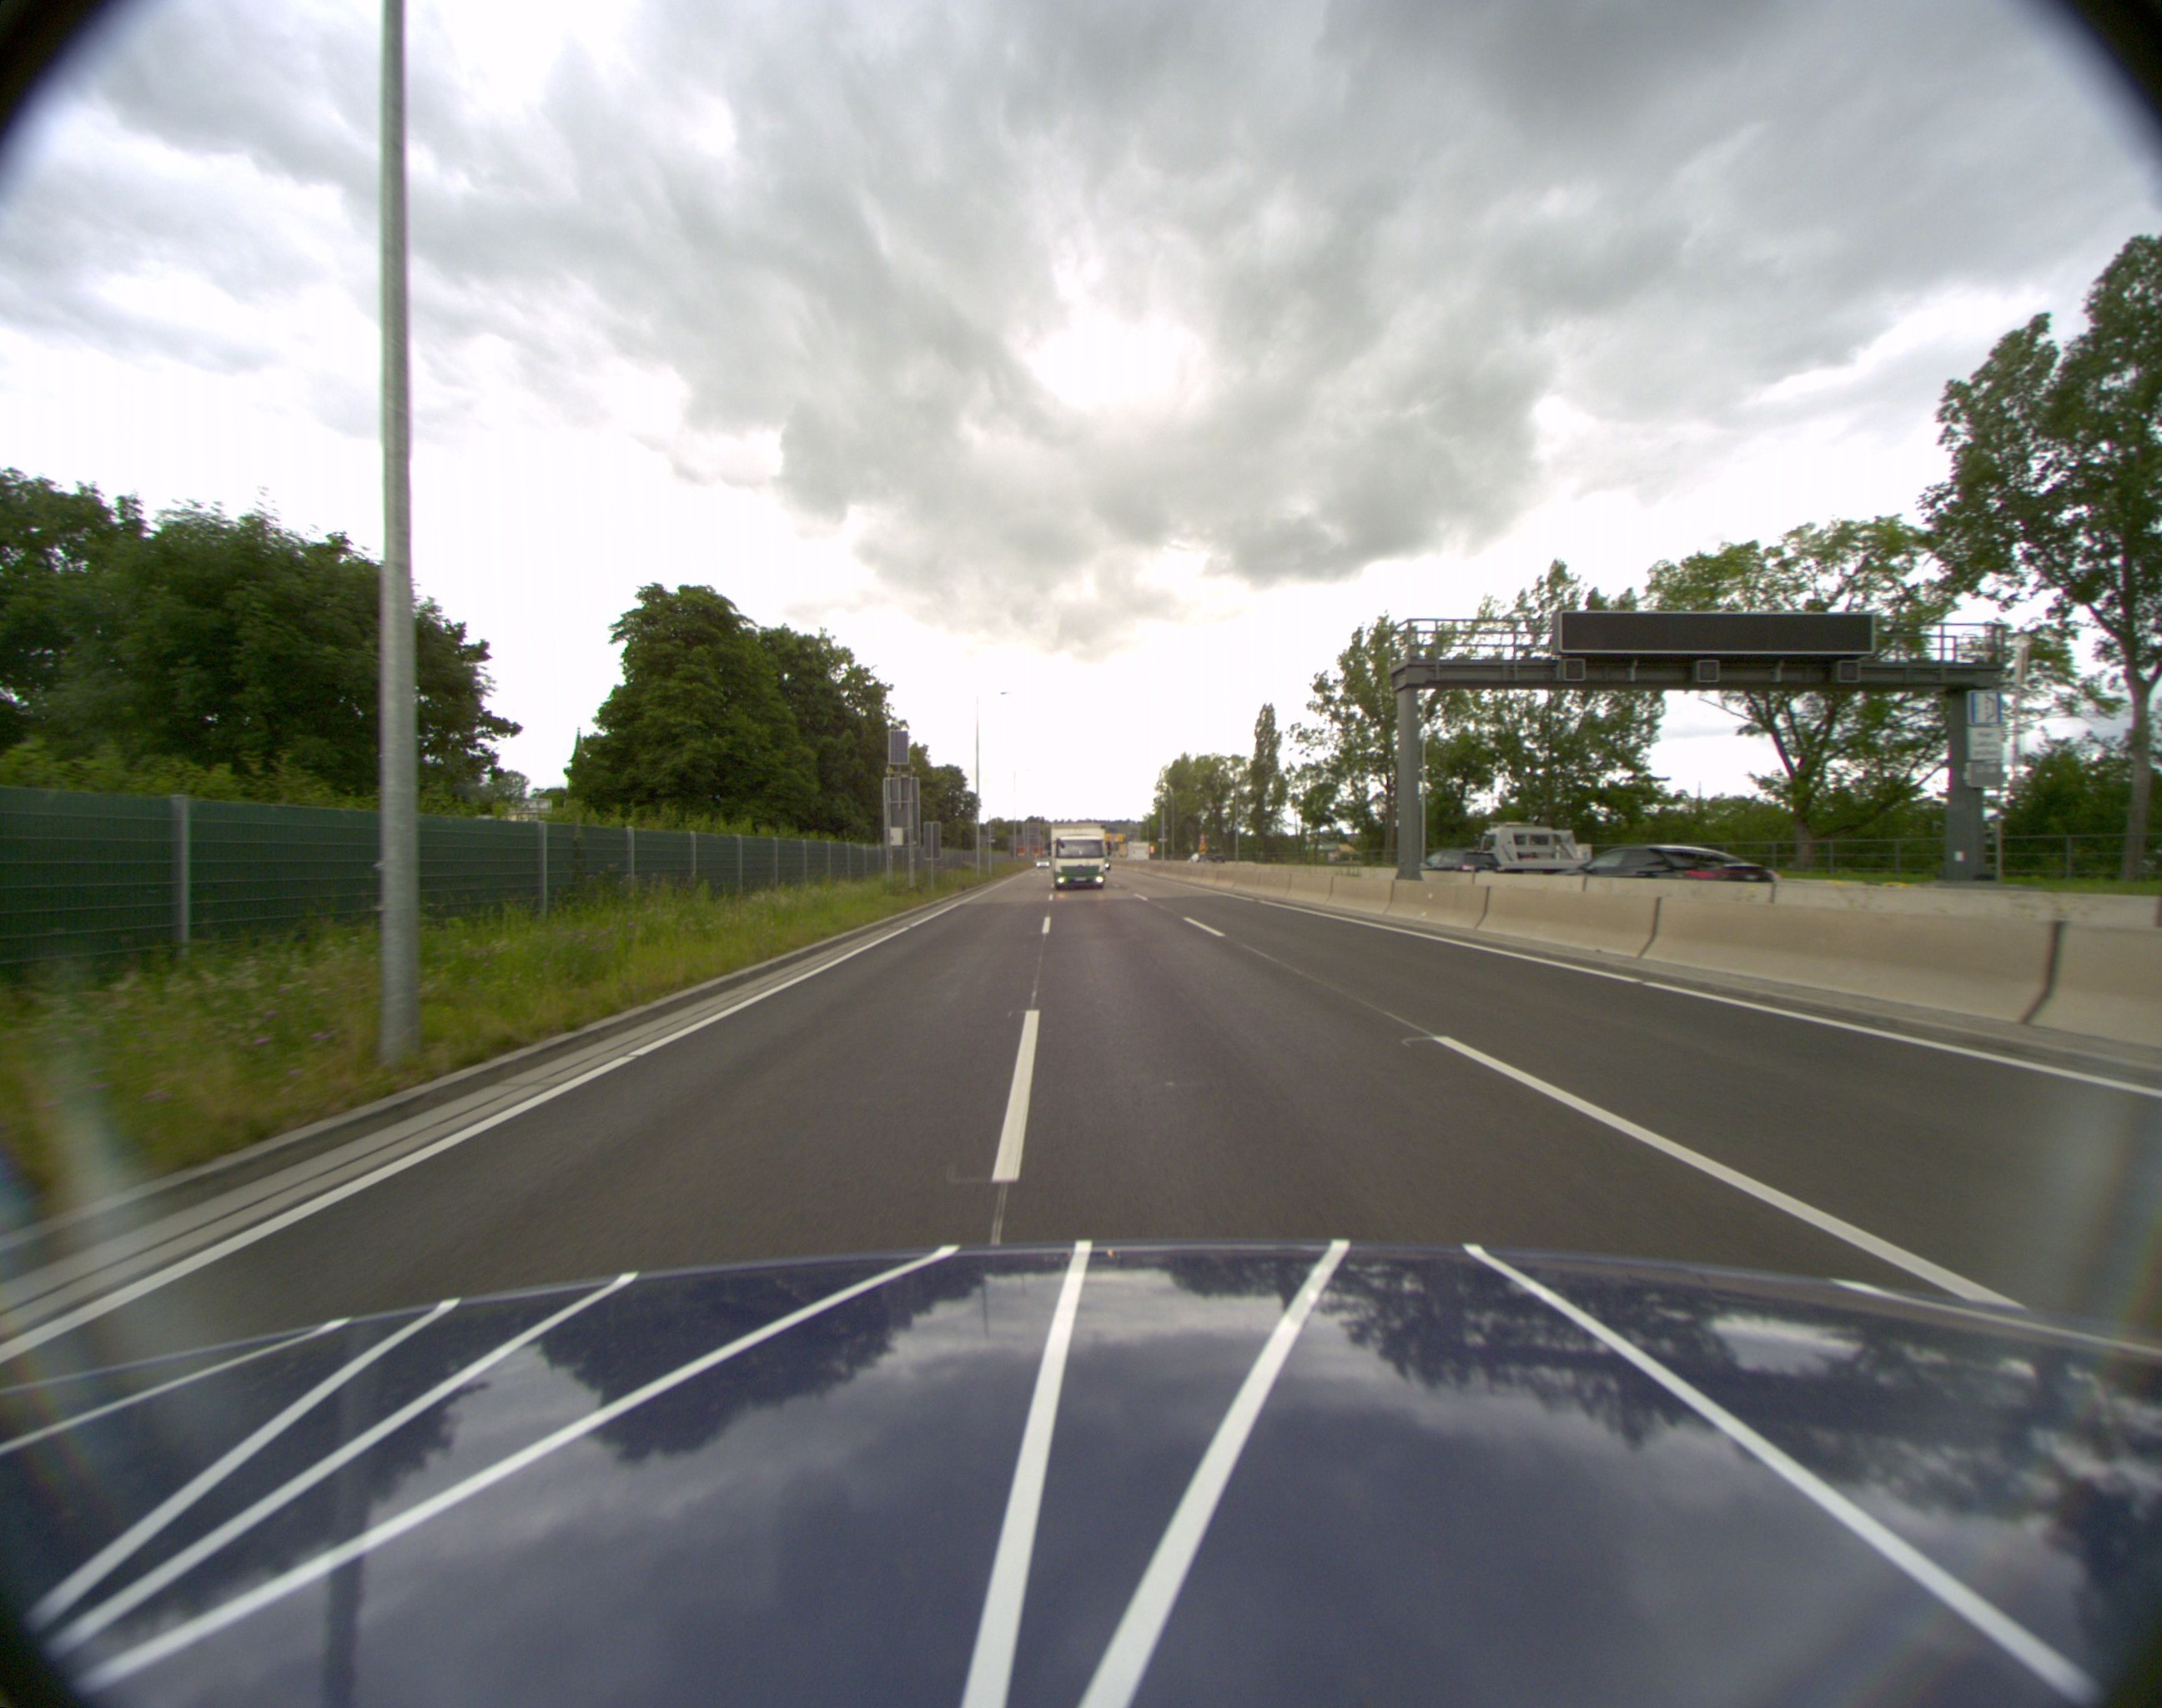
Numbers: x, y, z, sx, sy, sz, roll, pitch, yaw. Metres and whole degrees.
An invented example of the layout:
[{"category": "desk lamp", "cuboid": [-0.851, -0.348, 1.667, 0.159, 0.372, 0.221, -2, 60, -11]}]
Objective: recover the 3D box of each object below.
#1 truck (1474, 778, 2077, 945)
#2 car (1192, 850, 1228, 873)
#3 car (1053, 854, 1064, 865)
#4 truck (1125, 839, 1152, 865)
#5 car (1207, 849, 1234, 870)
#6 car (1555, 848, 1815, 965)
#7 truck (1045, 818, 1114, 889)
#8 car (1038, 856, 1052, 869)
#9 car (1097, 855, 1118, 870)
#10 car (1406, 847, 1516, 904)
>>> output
[{"category": "truck", "cuboid": [17.592, 0.190, 22.651, 2.862, 3.089, 15.882, -3, 0, -2]}, {"category": "car", "cuboid": [9.899, 0.550, 58.693, 1.931, 1.608, 4.455, -3, 0, -1]}, {"category": "car", "cuboid": [-4.464, 1.081, 148.874, 1.999, 2.002, 3.999, -3, 0, -2]}, {"category": "truck", "cuboid": [7.209, -0.234, 95.686, 2.410, 3.089, 7.200, -3, 0, -2]}, {"category": "car", "cuboid": [14.507, 0.559, 79.280, 1.999, 2.002, 4.000, -3, 0, -1]}, {"category": "car", "cuboid": [11.531, 0.904, 14.935, 1.821, 1.892, 4.000, -3, 0, -1]}, {"category": "truck", "cuboid": [-0.237, 0.015, 38.406, 2.943, 3.064, 8.385, -2, 0, -2]}, {"category": "car", "cuboid": [-5.259, 1.258, 111.513, 1.999, 1.849, 3.999, -3, 0, -2]}, {"category": "car", "cuboid": [2.728, 0.908, 79.508, 1.999, 1.444, 4.000, -3, 0, -1]}, {"category": "car", "cuboid": [13.891, 0.762, 28.071, 1.821, 1.866, 4.100, -3, 0, -2]}]
